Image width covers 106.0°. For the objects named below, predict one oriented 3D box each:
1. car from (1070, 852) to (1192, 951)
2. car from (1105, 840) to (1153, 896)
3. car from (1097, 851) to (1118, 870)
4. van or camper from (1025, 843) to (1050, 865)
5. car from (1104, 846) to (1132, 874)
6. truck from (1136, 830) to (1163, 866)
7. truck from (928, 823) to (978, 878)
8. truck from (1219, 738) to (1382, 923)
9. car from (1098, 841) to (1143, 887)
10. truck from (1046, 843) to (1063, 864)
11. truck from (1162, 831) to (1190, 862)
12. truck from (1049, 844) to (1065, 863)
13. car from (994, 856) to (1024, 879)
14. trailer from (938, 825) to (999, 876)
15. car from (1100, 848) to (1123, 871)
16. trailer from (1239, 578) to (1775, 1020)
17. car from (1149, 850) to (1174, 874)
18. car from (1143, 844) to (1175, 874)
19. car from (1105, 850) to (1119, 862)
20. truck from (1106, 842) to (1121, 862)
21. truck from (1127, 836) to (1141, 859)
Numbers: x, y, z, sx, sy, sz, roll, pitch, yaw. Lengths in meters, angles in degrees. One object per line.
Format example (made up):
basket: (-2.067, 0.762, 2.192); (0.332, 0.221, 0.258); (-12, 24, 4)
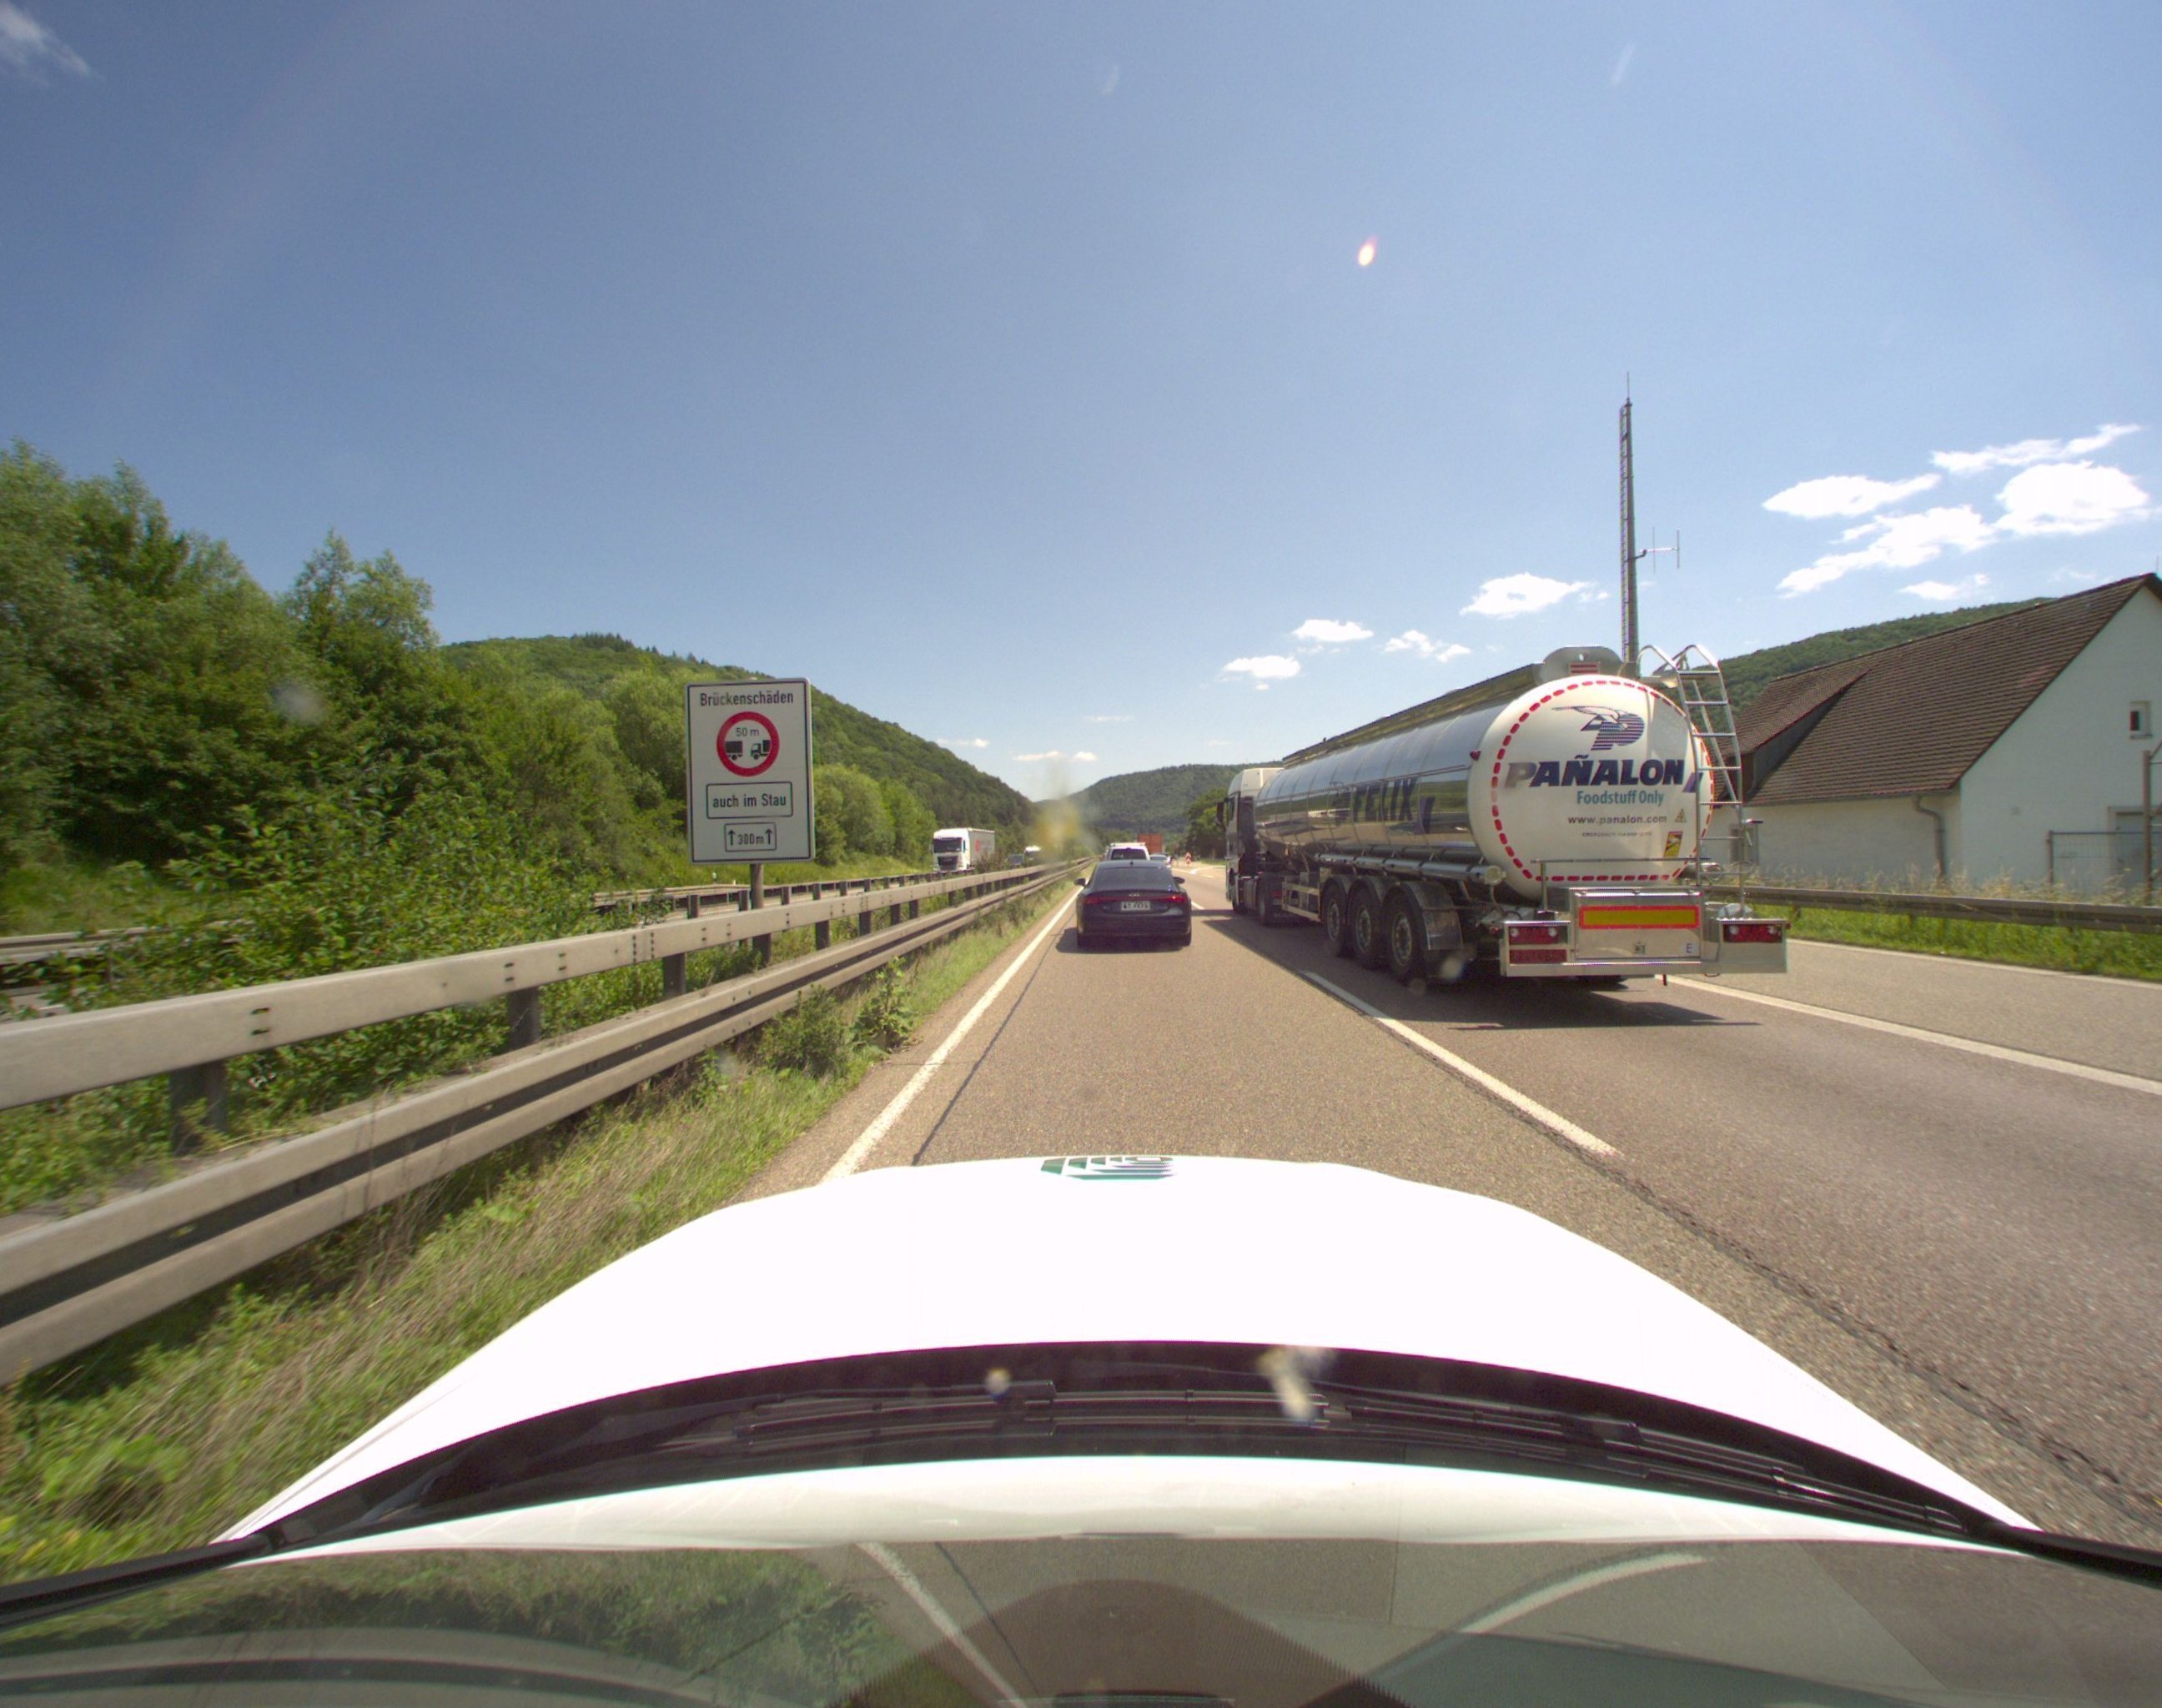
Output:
car: (0.797, 0.724, 14.460); (1.843, 1.488, 4.083); (-1, 0, 1)
car: (1.687, 0.477, 29.238); (1.570, 1.833, 4.002); (-1, 0, 2)
car: (2.404, 0.595, 72.747); (1.705, 1.618, 4.003); (-2, 0, 3)
van or camper: (-6.750, -0.002, 127.466); (2.577, 3.335, 7.661); (-2, 0, 6)
car: (2.796, 0.458, 61.753); (1.986, 2.013, 4.001); (-2, 0, 2)
truck: (8.143, -0.676, 98.195); (2.806, 4.003, 14.966); (-1, 0, 3)
truck: (-9.903, -0.282, 63.710); (2.717, 4.001, 5.372); (-2, 0, 2)
truck: (4.930, -0.481, 19.266); (2.502, 3.758, 5.247); (-1, 0, 1)
car: (1.827, 0.450, 38.103); (1.986, 2.013, 4.002); (-1, 0, 2)
truck: (-5.327, -0.140, 164.714); (2.858, 4.006, 10.174); (-1, 0, 2)
truck: (13.037, -0.973, 112.786); (2.806, 4.003, 14.966); (-1, 0, 3)
truck: (-5.120, -0.136, 174.322); (2.859, 3.980, 9.034); (-1, 0, 1)
car: (-5.945, 1.115, 67.776); (1.915, 1.796, 4.601); (-1, 0, 1)
trailer: (-9.600, -0.273, 71.416); (2.771, 3.999, 14.167); (-1, 0, 2)
car: (2.777, 0.471, 74.900); (1.986, 2.013, 4.001); (-2, 0, 2)
trailer: (4.775, -0.465, 12.897); (2.529, 3.735, 11.895); (-1, 0, 2)
car: (6.937, 0.682, 70.533); (1.985, 2.002, 4.003); (-2, 0, 3)
car: (5.577, 0.344, 58.534); (1.986, 2.013, 4.002); (-2, 0, 2)
car: (4.336, 0.290, 113.596); (1.705, 1.618, 4.003); (-2, 0, 3)
truck: (6.043, -0.349, 149.985); (2.618, 3.440, 11.428); (-2, 0, 3)
truck: (8.284, -0.955, 128.215); (1.986, 3.447, 11.818); (-1, 0, 2)
